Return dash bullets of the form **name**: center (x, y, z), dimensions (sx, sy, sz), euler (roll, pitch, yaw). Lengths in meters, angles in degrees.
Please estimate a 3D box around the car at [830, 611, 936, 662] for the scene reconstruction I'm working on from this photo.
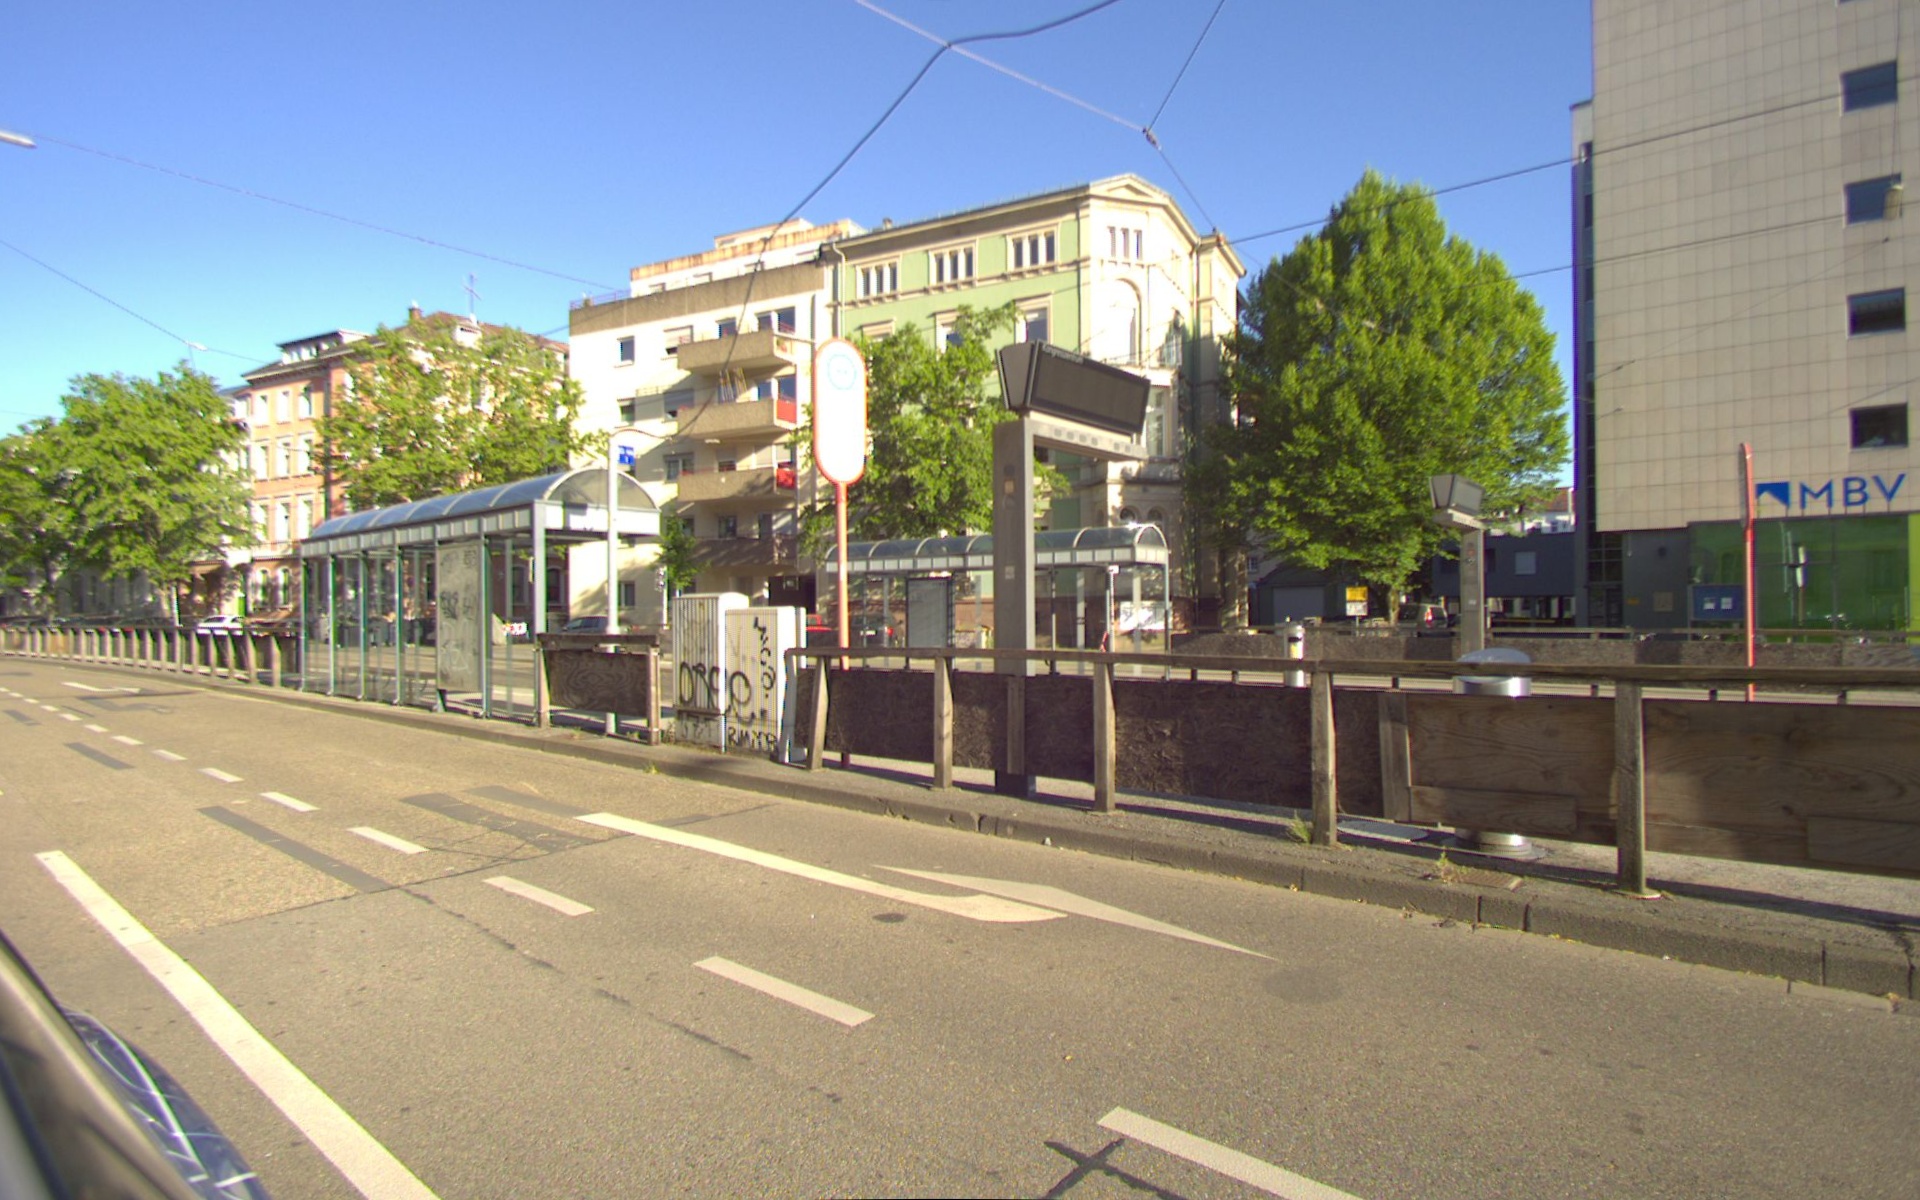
- **car**: center (-2.465, 1.173, 33.405), dimensions (1.754, 1.594, 3.965), euler (-1, -1, 26)

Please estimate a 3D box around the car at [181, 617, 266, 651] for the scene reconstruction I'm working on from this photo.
- **car**: center (-39.503, 1.799, 54.396), dimensions (1.825, 1.721, 4.130), euler (0, -1, -5)

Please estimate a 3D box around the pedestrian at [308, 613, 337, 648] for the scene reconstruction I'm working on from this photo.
- **pedestrian**: center (-31.910, 1.532, 50.642), dimensions (1.016, 1.733, 0.846), euler (-1, -2, 32)

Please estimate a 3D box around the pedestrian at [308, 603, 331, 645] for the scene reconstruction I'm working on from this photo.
- **pedestrian**: center (-34.153, 1.294, 53.927), dimensions (0.755, 2.224, 0.803), euler (-1, -2, 36)

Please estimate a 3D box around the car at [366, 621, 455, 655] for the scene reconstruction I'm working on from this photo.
- **car**: center (-23.729, 1.616, 43.653), dimensions (3.986, 1.407, 1.592), euler (-1, -2, 32)

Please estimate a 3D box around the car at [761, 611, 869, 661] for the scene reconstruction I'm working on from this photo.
- **car**: center (-4.875, 1.204, 34.467), dimensions (1.754, 1.594, 3.965), euler (-1, -1, 26)

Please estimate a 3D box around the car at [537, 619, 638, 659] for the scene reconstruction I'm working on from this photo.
- **car**: center (-14.242, 1.466, 38.647), dimensions (3.725, 1.438, 1.637), euler (-1, -1, 29)

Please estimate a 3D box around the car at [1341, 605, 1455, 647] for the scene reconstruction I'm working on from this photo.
- **car**: center (15.725, 0.900, 36.462), dimensions (1.544, 1.423, 3.430), euler (-1, 0, -38)

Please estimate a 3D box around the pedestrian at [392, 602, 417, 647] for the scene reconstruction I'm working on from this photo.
- **pedestrian**: center (-27.891, 1.212, 50.801), dimensions (0.753, 2.224, 0.804), euler (-1, -2, 30)

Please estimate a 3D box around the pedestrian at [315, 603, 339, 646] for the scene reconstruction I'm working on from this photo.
- **pedestrian**: center (-33.085, 1.280, 52.872), dimensions (0.753, 2.224, 0.804), euler (-1, -2, 30)

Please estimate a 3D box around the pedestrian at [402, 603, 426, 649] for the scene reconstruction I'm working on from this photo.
- **pedestrian**: center (-27.091, 1.290, 50.218), dimensions (0.753, 2.224, 0.804), euler (-1, -2, 30)

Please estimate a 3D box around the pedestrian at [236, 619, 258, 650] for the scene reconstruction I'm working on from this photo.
- **pedestrian**: center (-37.769, 1.807, 53.608), dimensions (0.853, 1.641, 0.894), euler (0, -2, -28)
